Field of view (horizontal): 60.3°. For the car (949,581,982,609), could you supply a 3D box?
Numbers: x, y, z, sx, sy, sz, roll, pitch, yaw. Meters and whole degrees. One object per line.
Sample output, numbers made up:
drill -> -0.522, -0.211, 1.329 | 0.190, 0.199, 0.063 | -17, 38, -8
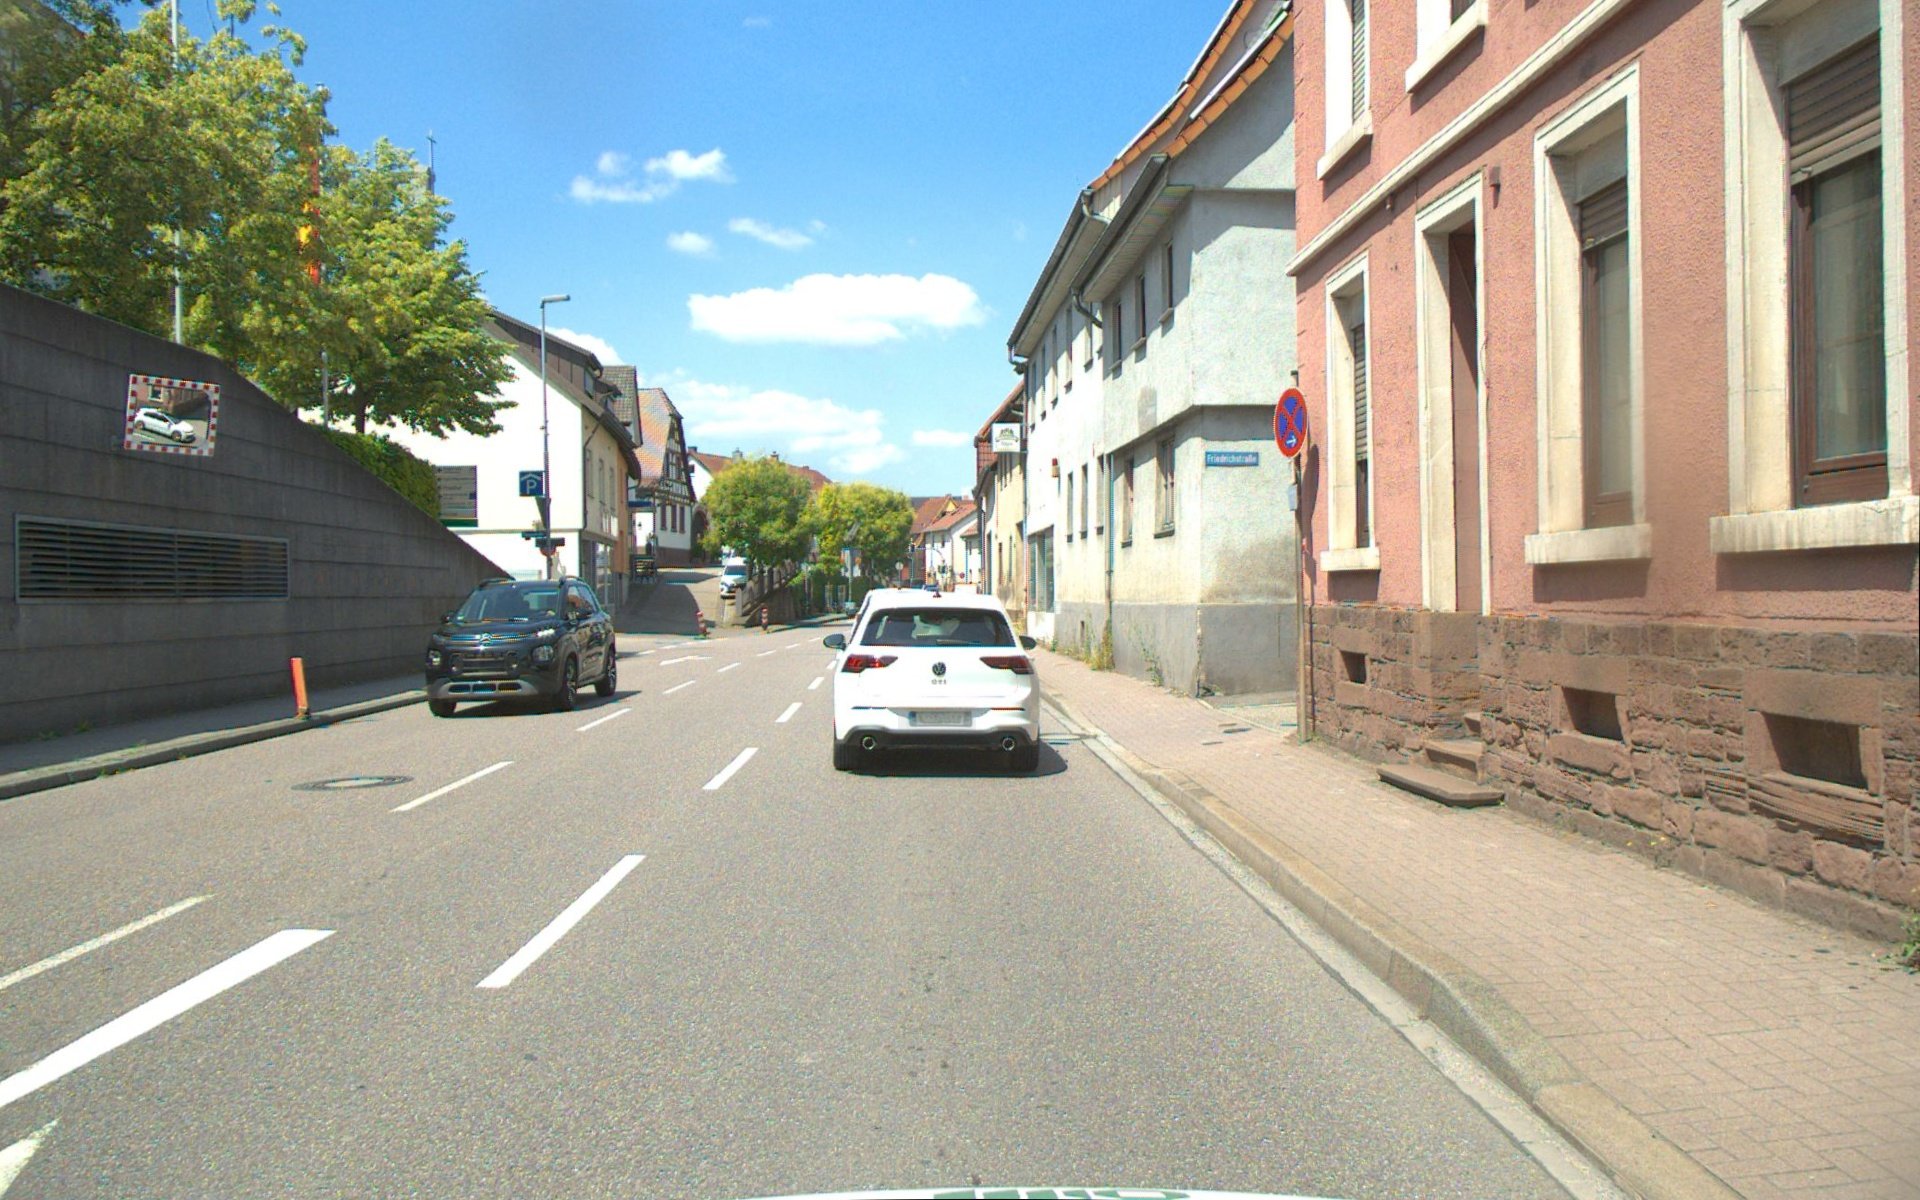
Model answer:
car -> 0.377, -0.349, 110.445 | 1.737, 1.796, 4.003 | 1, 0, 7

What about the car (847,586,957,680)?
car -> -1.082, 0.546, 29.400 | 1.772, 1.493, 3.997 | 2, 0, -4

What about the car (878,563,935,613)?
car -> -1.761, -0.377, 54.472 | 1.771, 1.493, 3.998 | 2, 0, -2

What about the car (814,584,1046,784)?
car -> -0.150, 0.661, 14.937 | 1.770, 1.493, 4.001 | 2, 0, 2

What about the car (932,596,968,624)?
car -> -0.562, 0.548, 94.570 | 1.738, 1.565, 4.002 | 1, 0, 4

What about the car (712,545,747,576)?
car -> -12.556, -2.174, 90.283 | 1.545, 1.385, 3.856 | 1, 6, -3

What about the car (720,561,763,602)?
car -> -10.232, -0.891, 77.735 | 1.659, 1.569, 3.856 | 1, 6, -3

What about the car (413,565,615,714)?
car -> -5.599, 0.453, 21.226 | 1.636, 1.686, 4.015 | -1, 0, -3
